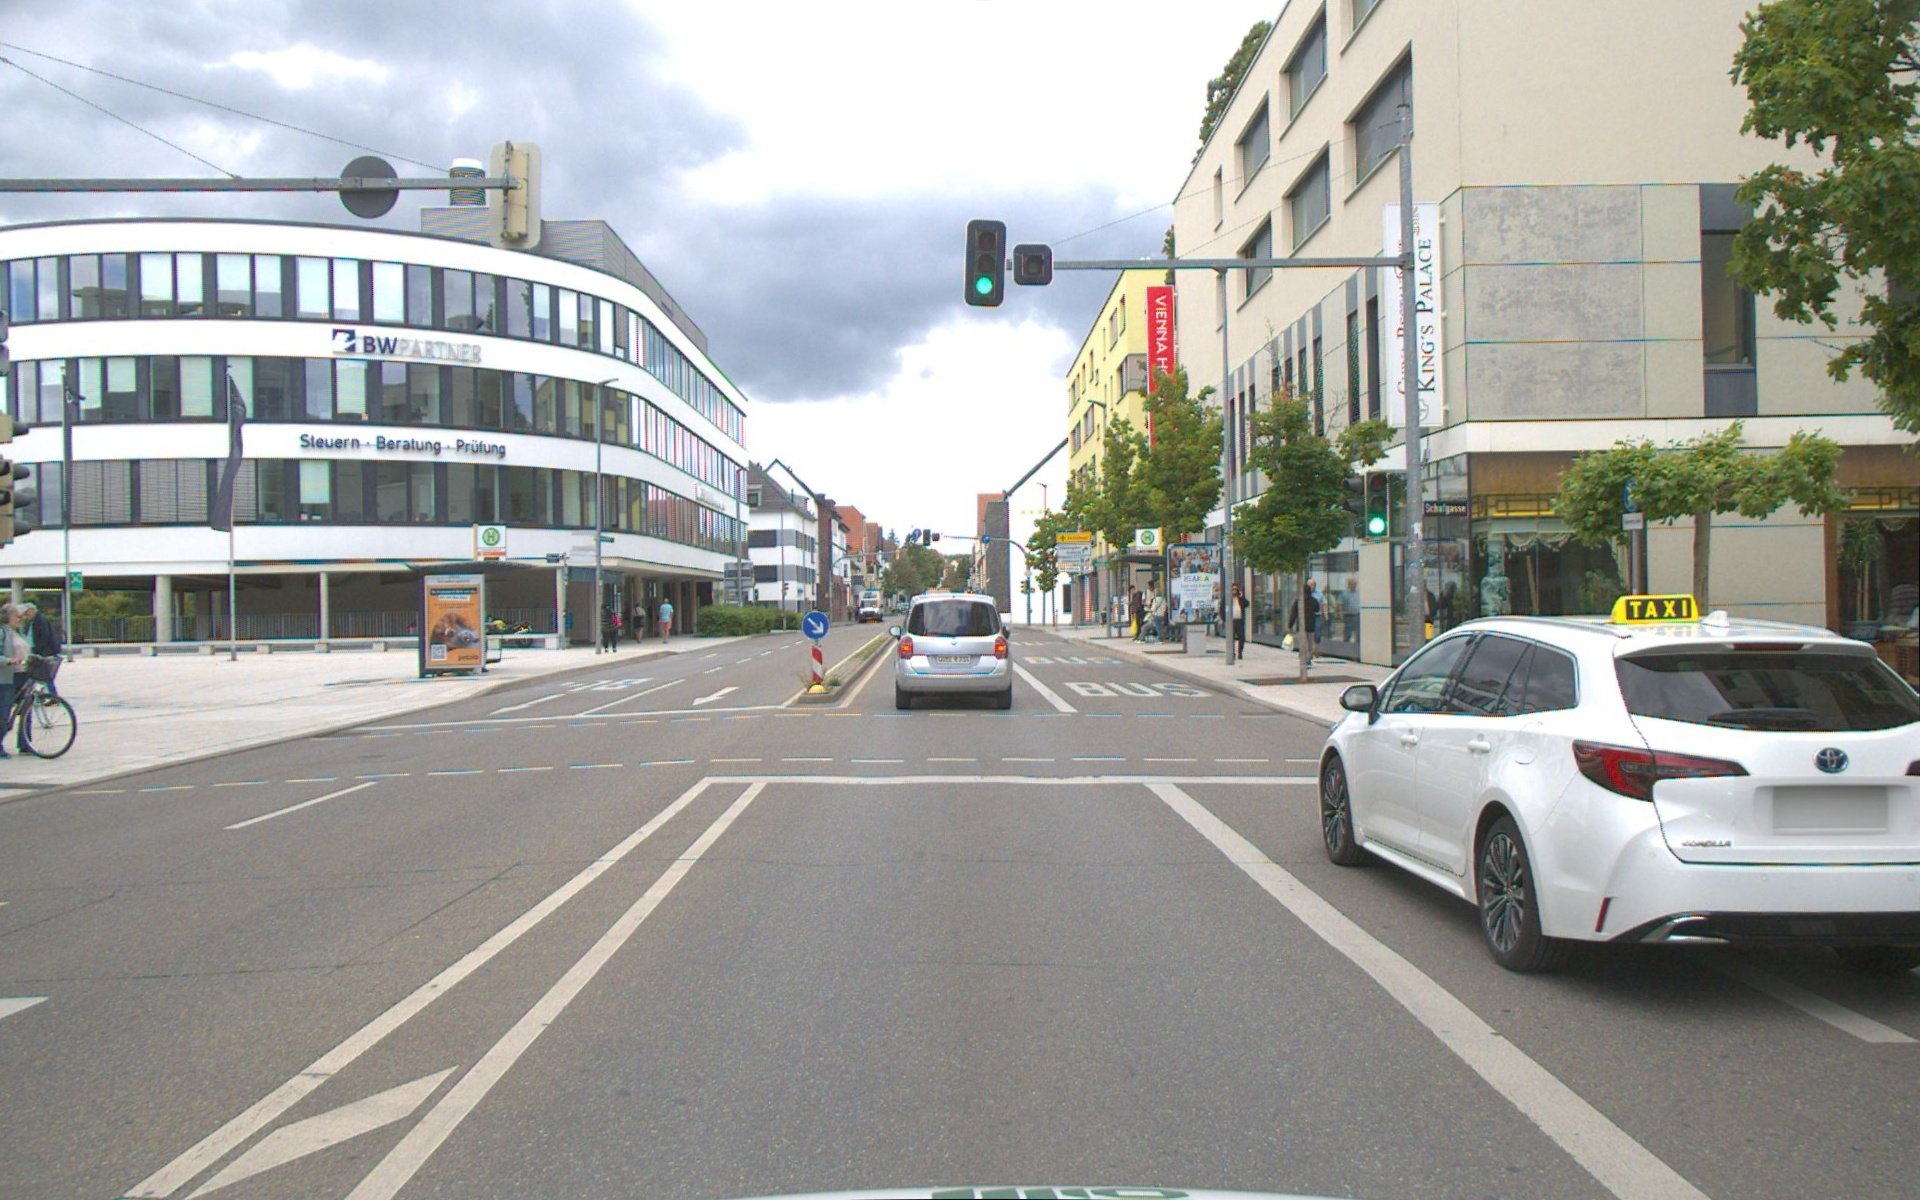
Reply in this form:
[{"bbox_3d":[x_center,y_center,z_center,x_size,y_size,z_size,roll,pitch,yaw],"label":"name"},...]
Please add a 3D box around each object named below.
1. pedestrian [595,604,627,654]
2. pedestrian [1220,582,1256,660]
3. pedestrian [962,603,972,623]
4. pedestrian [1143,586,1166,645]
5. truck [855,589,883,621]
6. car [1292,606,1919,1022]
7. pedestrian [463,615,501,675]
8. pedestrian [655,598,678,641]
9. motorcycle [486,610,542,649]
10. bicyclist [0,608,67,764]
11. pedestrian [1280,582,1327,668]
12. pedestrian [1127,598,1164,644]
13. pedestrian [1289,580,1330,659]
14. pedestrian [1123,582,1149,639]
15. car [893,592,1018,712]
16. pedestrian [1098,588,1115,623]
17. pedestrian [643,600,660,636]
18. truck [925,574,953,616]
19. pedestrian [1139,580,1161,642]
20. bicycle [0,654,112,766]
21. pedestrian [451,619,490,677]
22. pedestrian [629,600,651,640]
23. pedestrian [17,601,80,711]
[{"bbox_3d":[-11.314,0.939,53.576,0.812,1.594,0.813,0,0,4],"label":"pedestrian"},{"bbox_3d":[6.114,0.462,36.393,0.641,1.698,0.614,-1,0,-1],"label":"pedestrian"},{"bbox_3d":[0.657,1.265,159.712,0.791,1.818,0.861,-4,0,0],"label":"pedestrian"},{"bbox_3d":[5.538,0.438,47.030,0.567,1.618,0.733,-2,-1,4],"label":"pedestrian"},{"bbox_3d":[-8.782,0.462,160.268,2.385,3.005,8.362,0,0,-1],"label":"truck"},{"bbox_3d":[3.024,0.764,8.142,1.746,1.450,4.513,0,0,-2],"label":"car"},{"bbox_3d":[-11.172,1.041,38.673,0.670,1.343,0.576,-3,0,-2],"label":"pedestrian"},{"bbox_3d":[-11.761,0.787,66.316,0.715,1.703,0.931,0,0,1],"label":"pedestrian"},{"bbox_3d":[-15.828,1.059,58.725,1.816,1.356,0.636,1,0,3],"label":"motorcycle"},{"bbox_3d":[-10.532,0.939,18.433,0.765,1.678,0.639,1,0,14],"label":"bicyclist"},{"bbox_3d":[6.685,0.483,32.209,0.725,1.636,0.714,-1,0,-1],"label":"pedestrian"},{"bbox_3d":[5.395,0.613,48.196,0.924,1.281,0.732,-2,0,-4],"label":"pedestrian"},{"bbox_3d":[7.663,0.422,36.281,0.729,1.698,0.614,-1,0,-1],"label":"pedestrian"},{"bbox_3d":[5.397,0.322,50.729,0.705,1.713,0.733,-2,-1,4],"label":"pedestrian"},{"bbox_3d":[-0.092,0.700,24.285,1.672,1.606,3.999,1,0,-1],"label":"car"},{"bbox_3d":[6.945,0.276,78.620,0.681,1.621,0.603,-2,0,-2],"label":"pedestrian"},{"bbox_3d":[-15.162,0.875,81.344,0.495,1.760,0.614,-2,-1,30],"label":"pedestrian"},{"bbox_3d":[-1.950,-0.463,156.708,2.542,3.925,6.848,-1,0,0],"label":"truck"},{"bbox_3d":[5.653,0.317,49.253,0.567,1.800,0.857,-2,0,4],"label":"pedestrian"},{"bbox_3d":[-10.509,1.200,18.406,1.957,1.150,0.639,1,0,14],"label":"bicycle"},{"bbox_3d":[-11.051,1.074,37.363,0.670,1.275,0.576,-2,0,-2],"label":"pedestrian"},{"bbox_3d":[-12.995,0.812,67.151,0.715,1.641,0.931,0,0,1],"label":"pedestrian"},{"bbox_3d":[-16.664,1.008,30.248,0.894,1.979,0.739,0,-1,-40],"label":"pedestrian"}]
